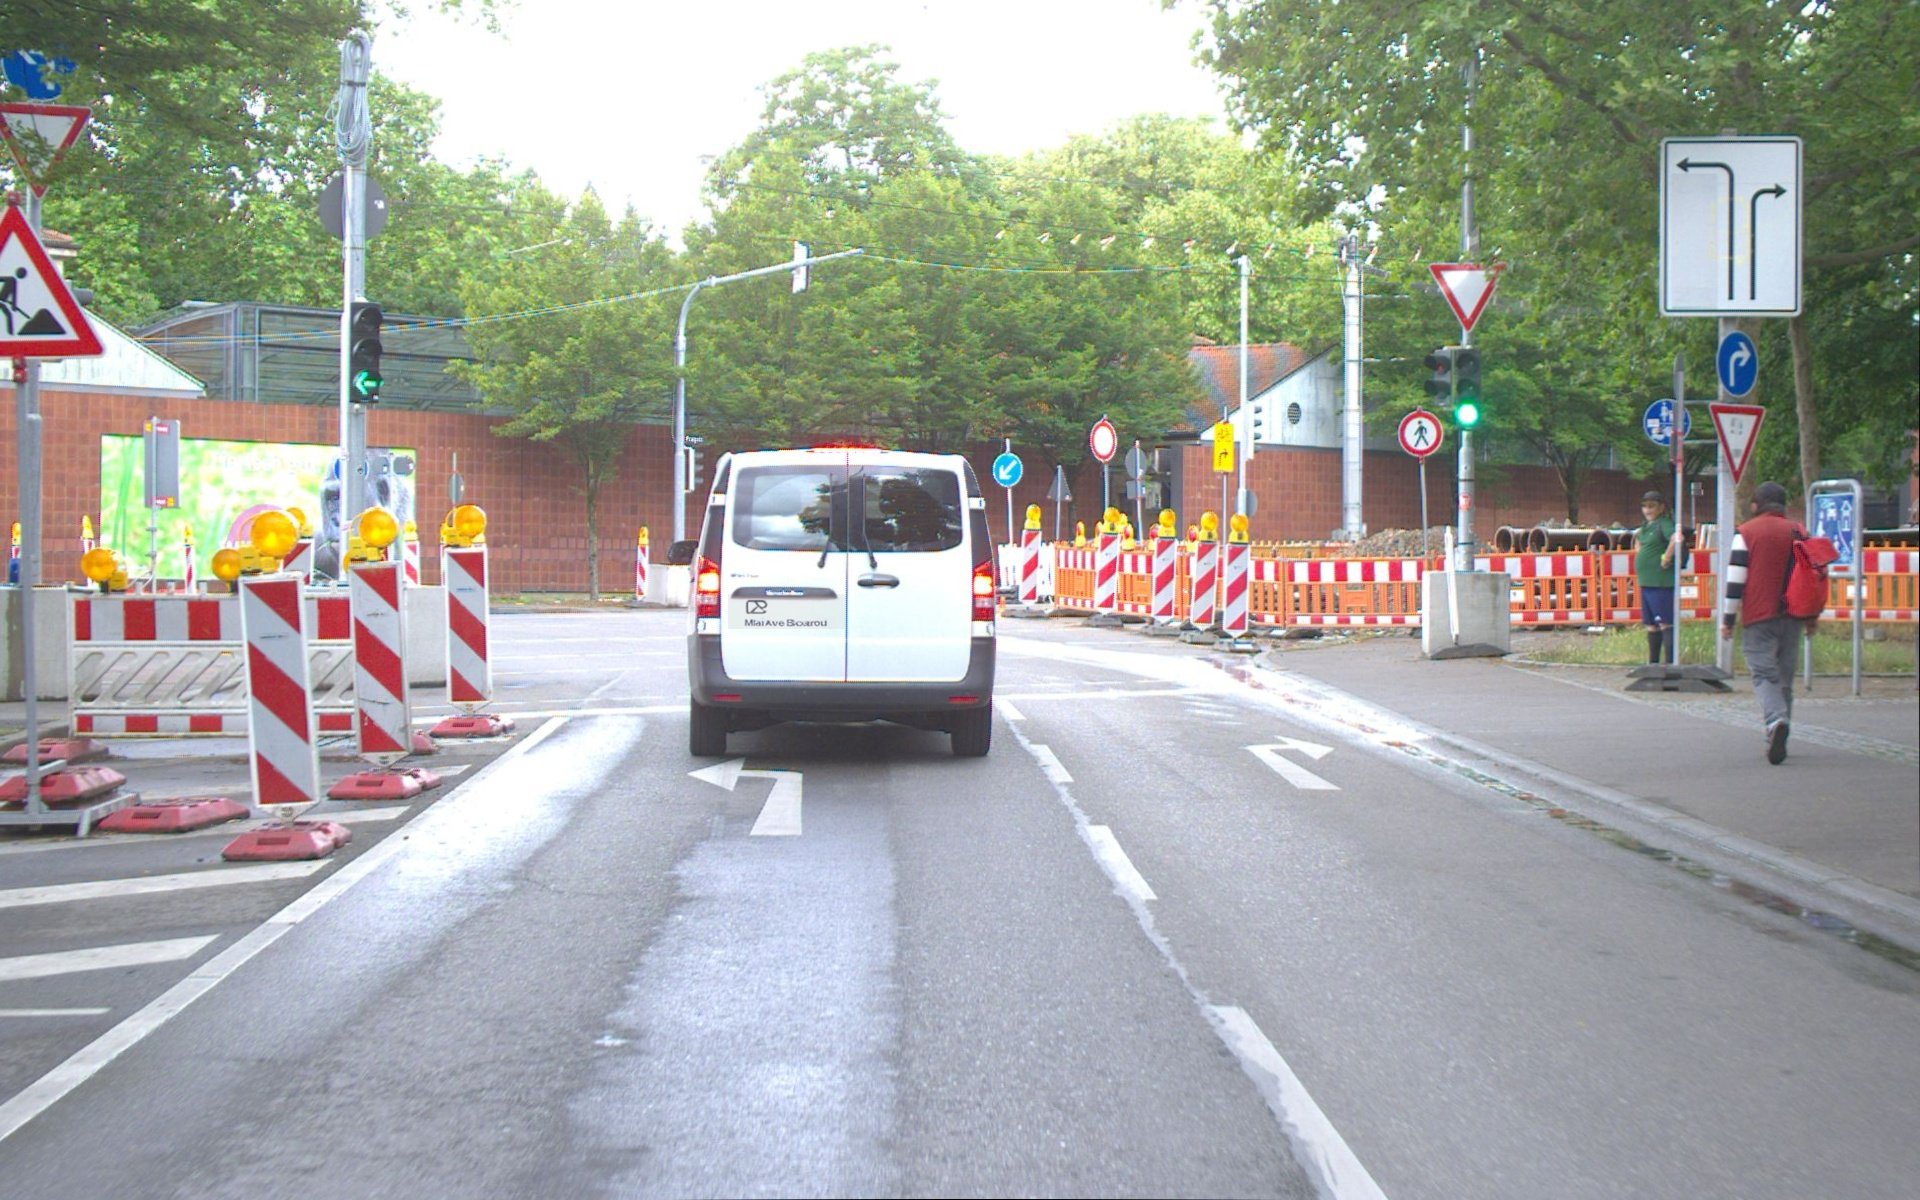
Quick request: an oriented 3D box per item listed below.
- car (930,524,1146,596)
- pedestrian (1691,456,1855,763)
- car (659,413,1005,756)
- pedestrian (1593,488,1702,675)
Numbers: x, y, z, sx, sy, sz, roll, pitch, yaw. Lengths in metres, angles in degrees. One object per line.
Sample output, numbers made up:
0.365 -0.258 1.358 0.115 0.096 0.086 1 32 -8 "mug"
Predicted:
1.687 -0.831 73.654 4.445 1.438 1.879 1 -1 -38 "car"
4.957 0.049 21.005 0.779 1.825 0.728 -2 1 -1 "pedestrian"
-0.792 -0.049 22.540 1.917 1.895 4.701 4 -1 -1 "car"
6.349 -0.183 31.762 0.730 1.691 0.838 -1 2 -10 "pedestrian"
